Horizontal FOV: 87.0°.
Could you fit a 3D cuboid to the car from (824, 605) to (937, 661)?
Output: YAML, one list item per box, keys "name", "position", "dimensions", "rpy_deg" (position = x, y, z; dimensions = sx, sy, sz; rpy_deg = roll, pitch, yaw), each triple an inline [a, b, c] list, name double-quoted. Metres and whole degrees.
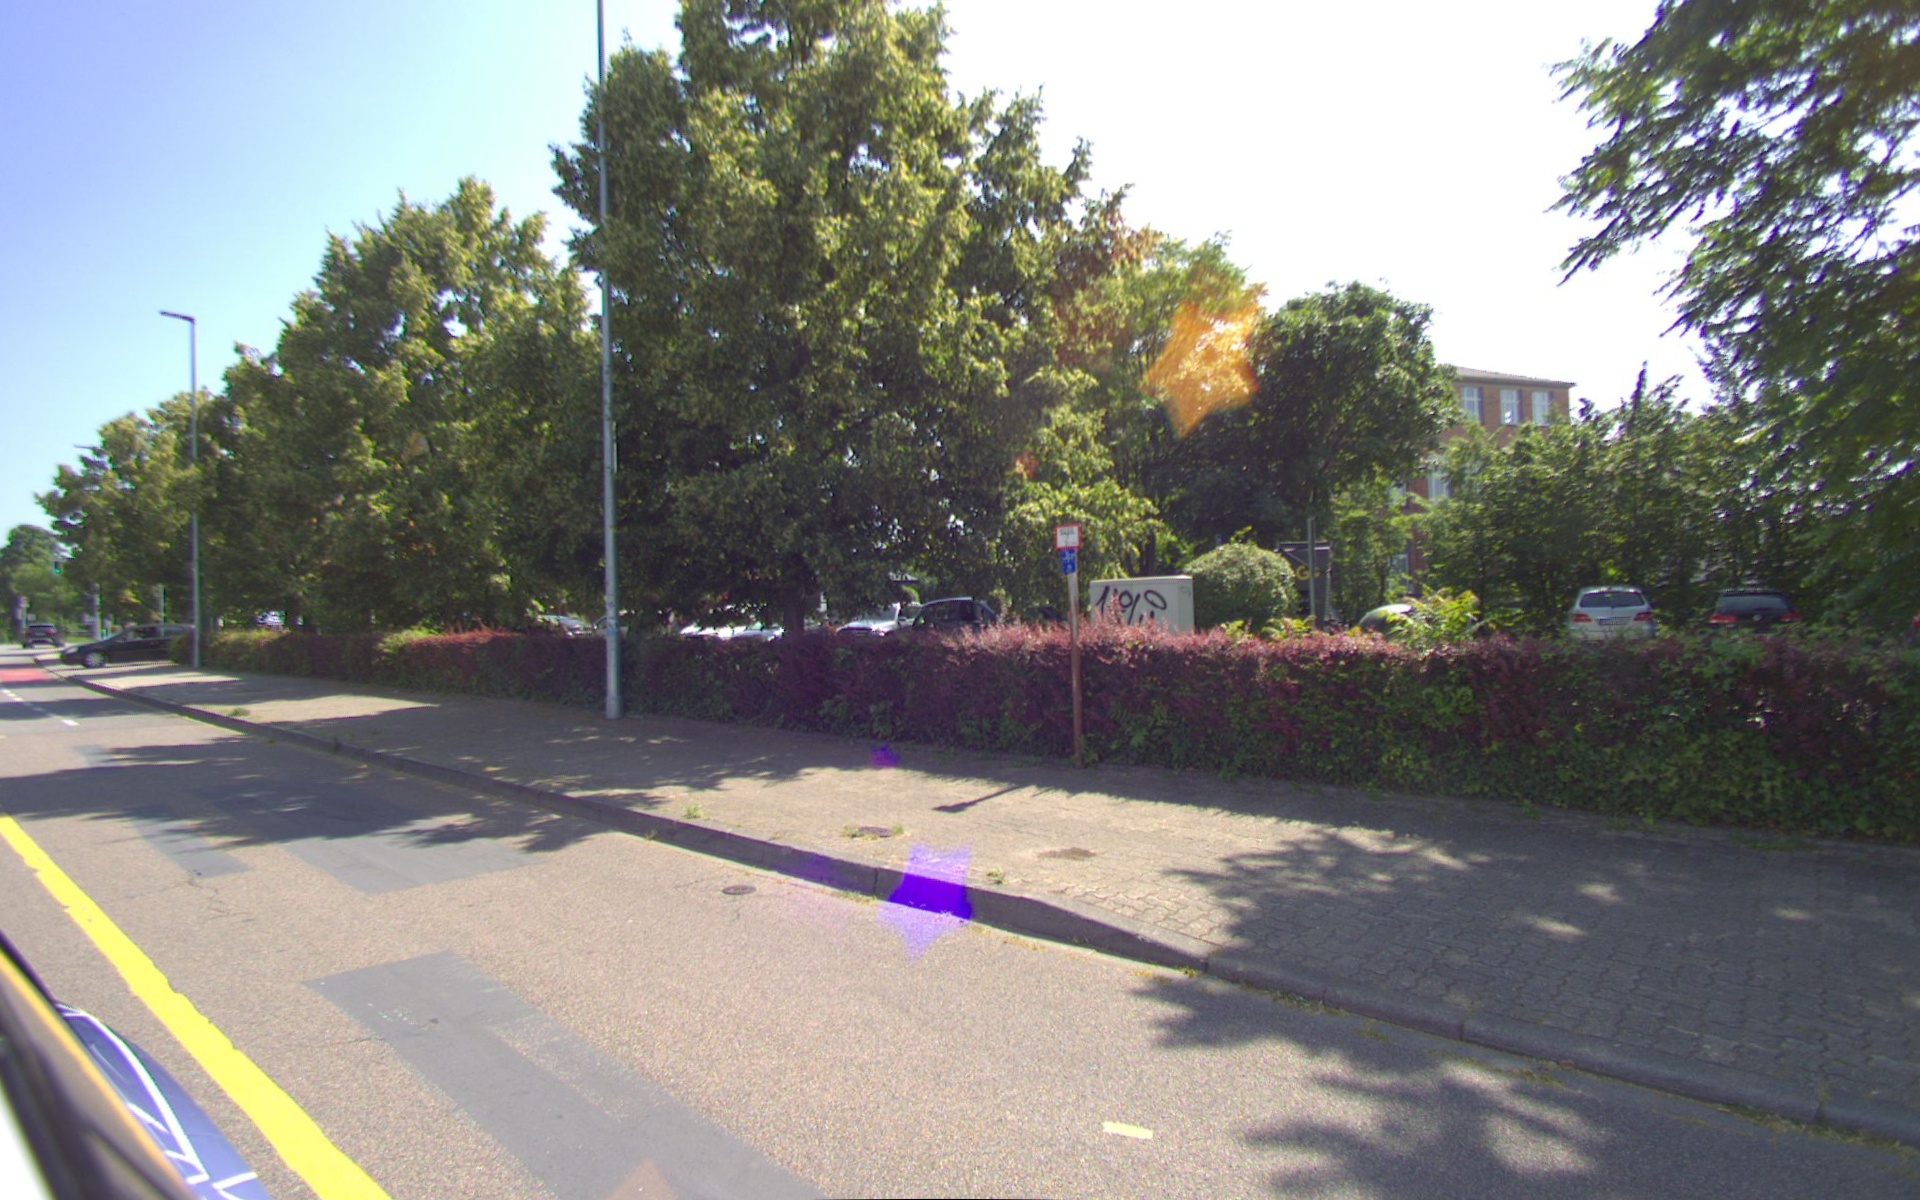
- name: "car"
  position: [-2.520, 1.047, 33.203]
  dimensions: [1.851, 1.698, 4.331]
  rpy_deg: [-2, -1, 24]

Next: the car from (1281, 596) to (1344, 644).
- name: "car"
  position: [12.253, 0.658, 35.034]
  dimensions: [1.763, 1.487, 3.969]
  rpy_deg: [-3, 0, 23]

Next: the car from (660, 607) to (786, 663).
- name: "car"
  position: [-7.798, 1.118, 33.706]
  dimensions: [1.852, 1.698, 4.275]
  rpy_deg: [-2, -1, 25]

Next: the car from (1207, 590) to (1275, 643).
- name: "car"
  position: [10.652, 0.577, 38.206]
  dimensions: [1.764, 1.747, 3.967]
  rpy_deg: [-4, -1, 24]

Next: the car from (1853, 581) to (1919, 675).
- name: "car"
  position: [17.554, 0.421, 17.998]
  dimensions: [1.698, 1.464, 3.959]
  rpy_deg: [-3, 0, 30]

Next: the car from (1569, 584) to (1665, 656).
- name: "car"
  position: [16.088, 0.447, 24.932]
  dimensions: [1.768, 1.584, 3.958]
  rpy_deg: [-3, 0, 31]

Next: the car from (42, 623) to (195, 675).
- name: "car"
  position: [-29.459, 1.664, 35.485]
  dimensions: [3.941, 1.475, 1.882]
  rpy_deg: [-4, 2, -44]

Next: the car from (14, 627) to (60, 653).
- name: "car"
  position: [-61.296, 2.630, 67.275]
  dimensions: [1.968, 1.657, 4.536]
  rpy_deg: [0, -2, -39]

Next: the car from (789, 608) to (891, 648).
- name: "car"
  position: [-5.538, 1.283, 46.651]
  dimensions: [4.347, 1.698, 1.845]
  rpy_deg: [-2, 1, 28]

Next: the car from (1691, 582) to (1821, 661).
- name: "car"
  position: [17.275, 0.422, 22.142]
  dimensions: [1.769, 1.481, 3.956]
  rpy_deg: [-3, 0, 32]

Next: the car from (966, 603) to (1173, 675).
- name: "car"
  position: [2.386, 0.876, 22.781]
  dimensions: [4.363, 1.464, 1.837]
  rpy_deg: [-2, -3, 40]

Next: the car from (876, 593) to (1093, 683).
- name: "car"
  position: [0.435, 0.788, 21.184]
  dimensions: [4.363, 1.699, 1.837]
  rpy_deg: [-2, -3, 40]

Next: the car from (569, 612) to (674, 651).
- name: "car"
  position: [-14.564, 1.365, 43.547]
  dimensions: [4.120, 1.564, 1.904]
  rpy_deg: [-2, -1, 26]
